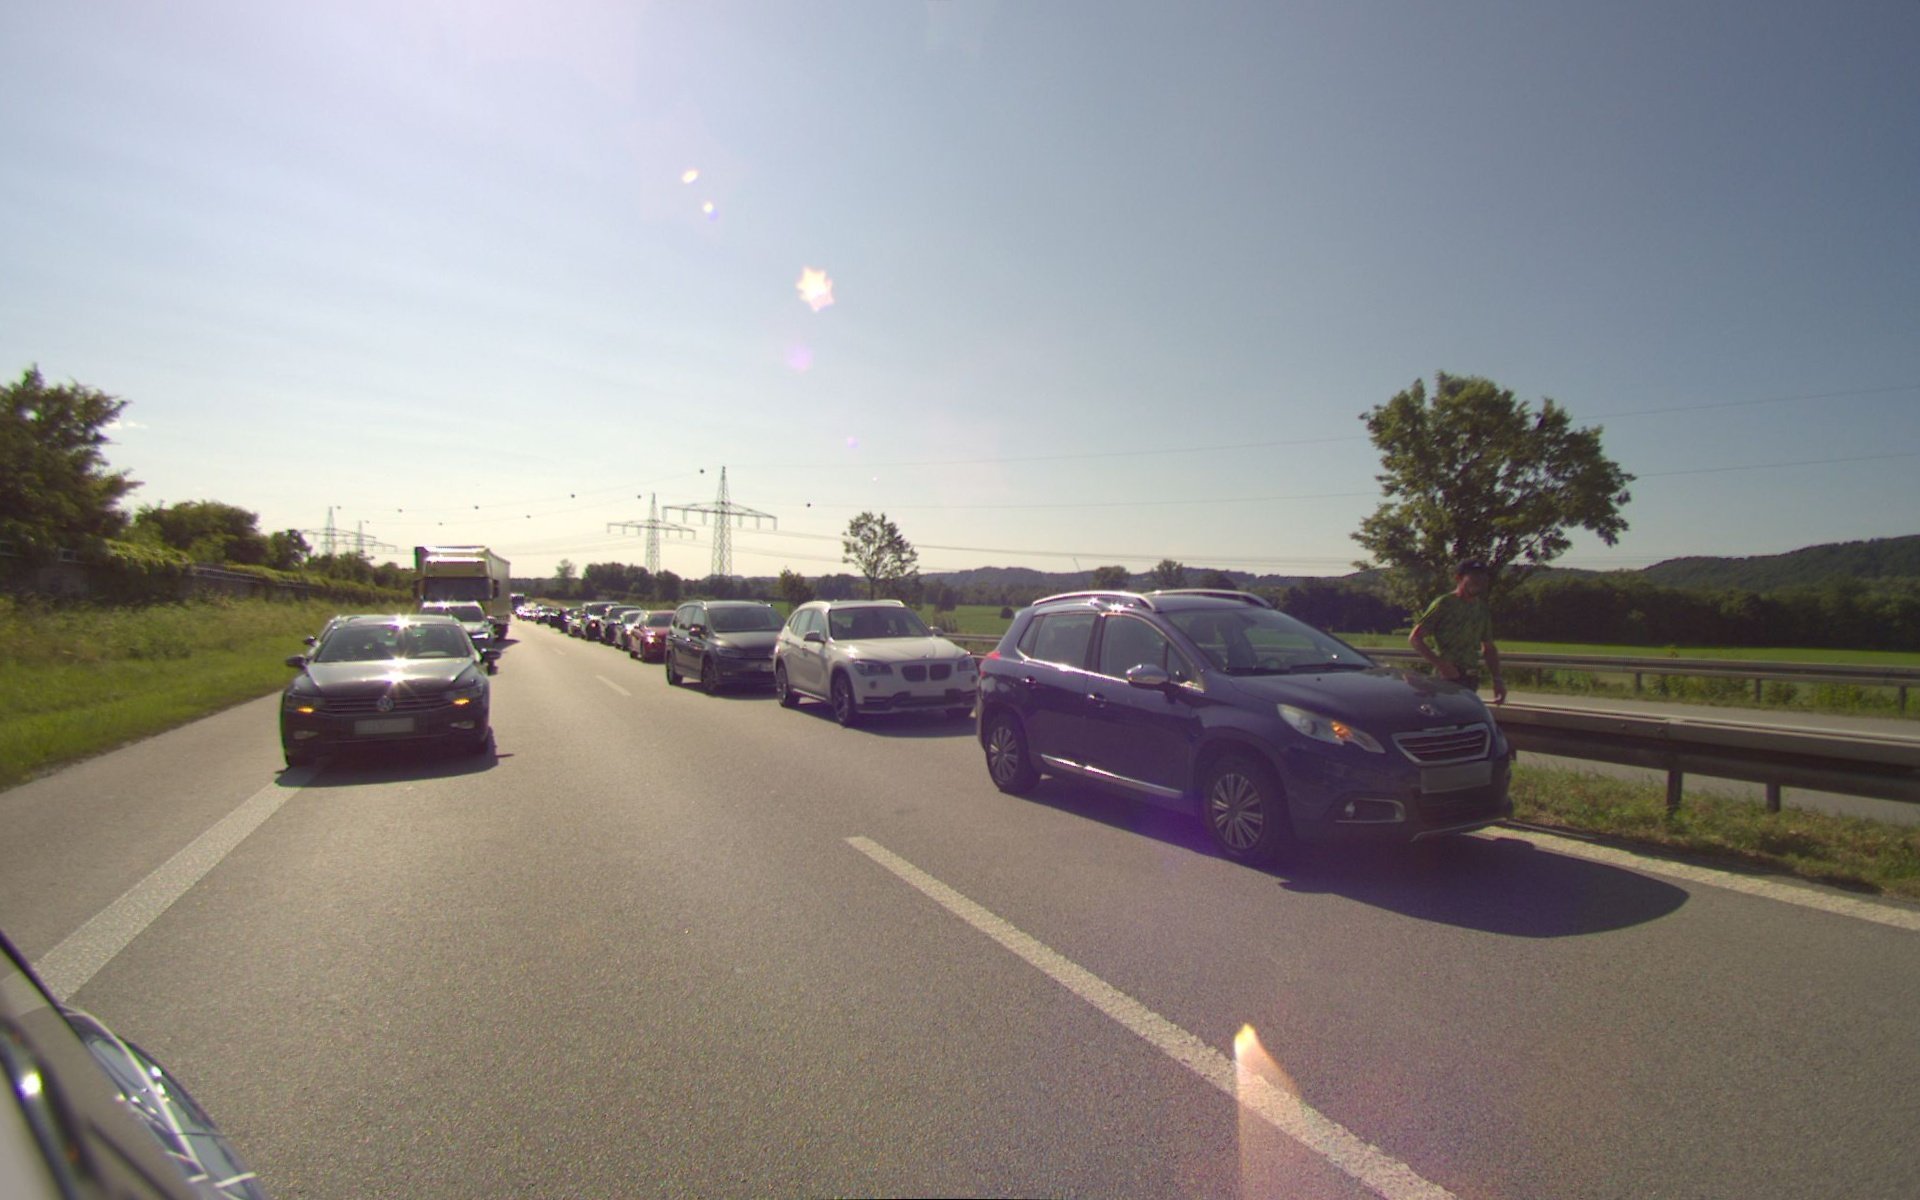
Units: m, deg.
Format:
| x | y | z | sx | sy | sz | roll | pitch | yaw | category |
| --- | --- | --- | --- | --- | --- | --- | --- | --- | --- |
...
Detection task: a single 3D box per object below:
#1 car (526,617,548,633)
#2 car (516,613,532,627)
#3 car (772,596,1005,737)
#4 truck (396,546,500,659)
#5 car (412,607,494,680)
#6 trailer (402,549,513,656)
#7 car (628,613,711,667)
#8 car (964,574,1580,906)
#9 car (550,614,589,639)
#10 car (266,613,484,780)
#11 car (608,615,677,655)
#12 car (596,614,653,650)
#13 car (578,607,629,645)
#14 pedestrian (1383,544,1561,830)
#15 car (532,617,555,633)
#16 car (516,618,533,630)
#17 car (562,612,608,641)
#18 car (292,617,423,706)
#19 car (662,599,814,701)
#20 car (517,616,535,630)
| x | y | z | sx | sy | sz | roll | pitch | yaw | category |
| --- | --- | --- | --- | --- | --- | --- | --- | --- | --- |
| -41.687 | 2.462 | 99.793 | 1.789 | 1.470 | 4.131 | -1 | 0 | -25 | car |
| -56.869 | 2.631 | 131.861 | 1.783 | 1.807 | 3.785 | 1 | -1 | -25 | car |
| -1.147 | 0.782 | 13.739 | 1.802 | 1.586 | 4.177 | 0 | -1 | -25 | car |
| -20.403 | 0.080 | 40.726 | 3.278 | 4.144 | 6.993 | -1 | 0 | -23 | truck |
| -12.737 | 1.040 | 25.617 | 1.688 | 1.636 | 4.339 | -1 | 0 | -25 | car |
| -22.650 | 0.114 | 46.430 | 3.332 | 4.144 | 13.998 | -1 | 0 | -22 | trailer |
| -8.562 | 1.124 | 29.633 | 1.789 | 1.470 | 4.131 | 1 | -1 | -24 | car |
| 1.722 | 0.679 | 6.917 | 1.664 | 1.546 | 3.961 | -1 | 0 | -28 | car |
| -24.822 | 1.661 | 64.256 | 1.965 | 1.542 | 4.013 | 1 | -1 | -26 | car |
| -6.214 | 0.881 | 11.186 | 1.688 | 1.424 | 4.339 | -1 | 0 | -25 | car |
| -11.884 | 1.263 | 37.717 | 1.863 | 1.409 | 4.013 | 1 | -1 | -26 | car |
| -14.394 | 1.324 | 43.289 | 1.862 | 1.466 | 4.013 | 1 | -1 | -25 | car |
| -17.471 | 1.262 | 49.463 | 1.870 | 1.801 | 4.213 | 1 | -1 | -26 | car |
| 3.396 | 0.542 | 6.759 | 0.661 | 1.763 | 0.817 | 1 | -1 | -25 | pedestrian |
| -37.931 | 2.264 | 92.219 | 1.789 | 1.470 | 4.131 | 1 | -1 | -24 | car |
| -53.079 | 2.953 | 123.278 | 1.789 | 1.470 | 4.131 | 1 | -1 | -24 | car |
| -20.733 | 1.434 | 55.879 | 1.965 | 1.542 | 4.013 | 1 | -1 | -26 | car |
| -11.252 | 1.068 | 19.153 | 1.688 | 1.436 | 4.339 | -1 | 0 | -25 | car |
| -4.203 | 0.840 | 18.653 | 1.789 | 1.628 | 4.131 | -1 | 0 | -26 | car |
| -50.673 | 2.685 | 118.156 | 1.789 | 1.470 | 4.131 | -1 | 0 | -24 | car |
